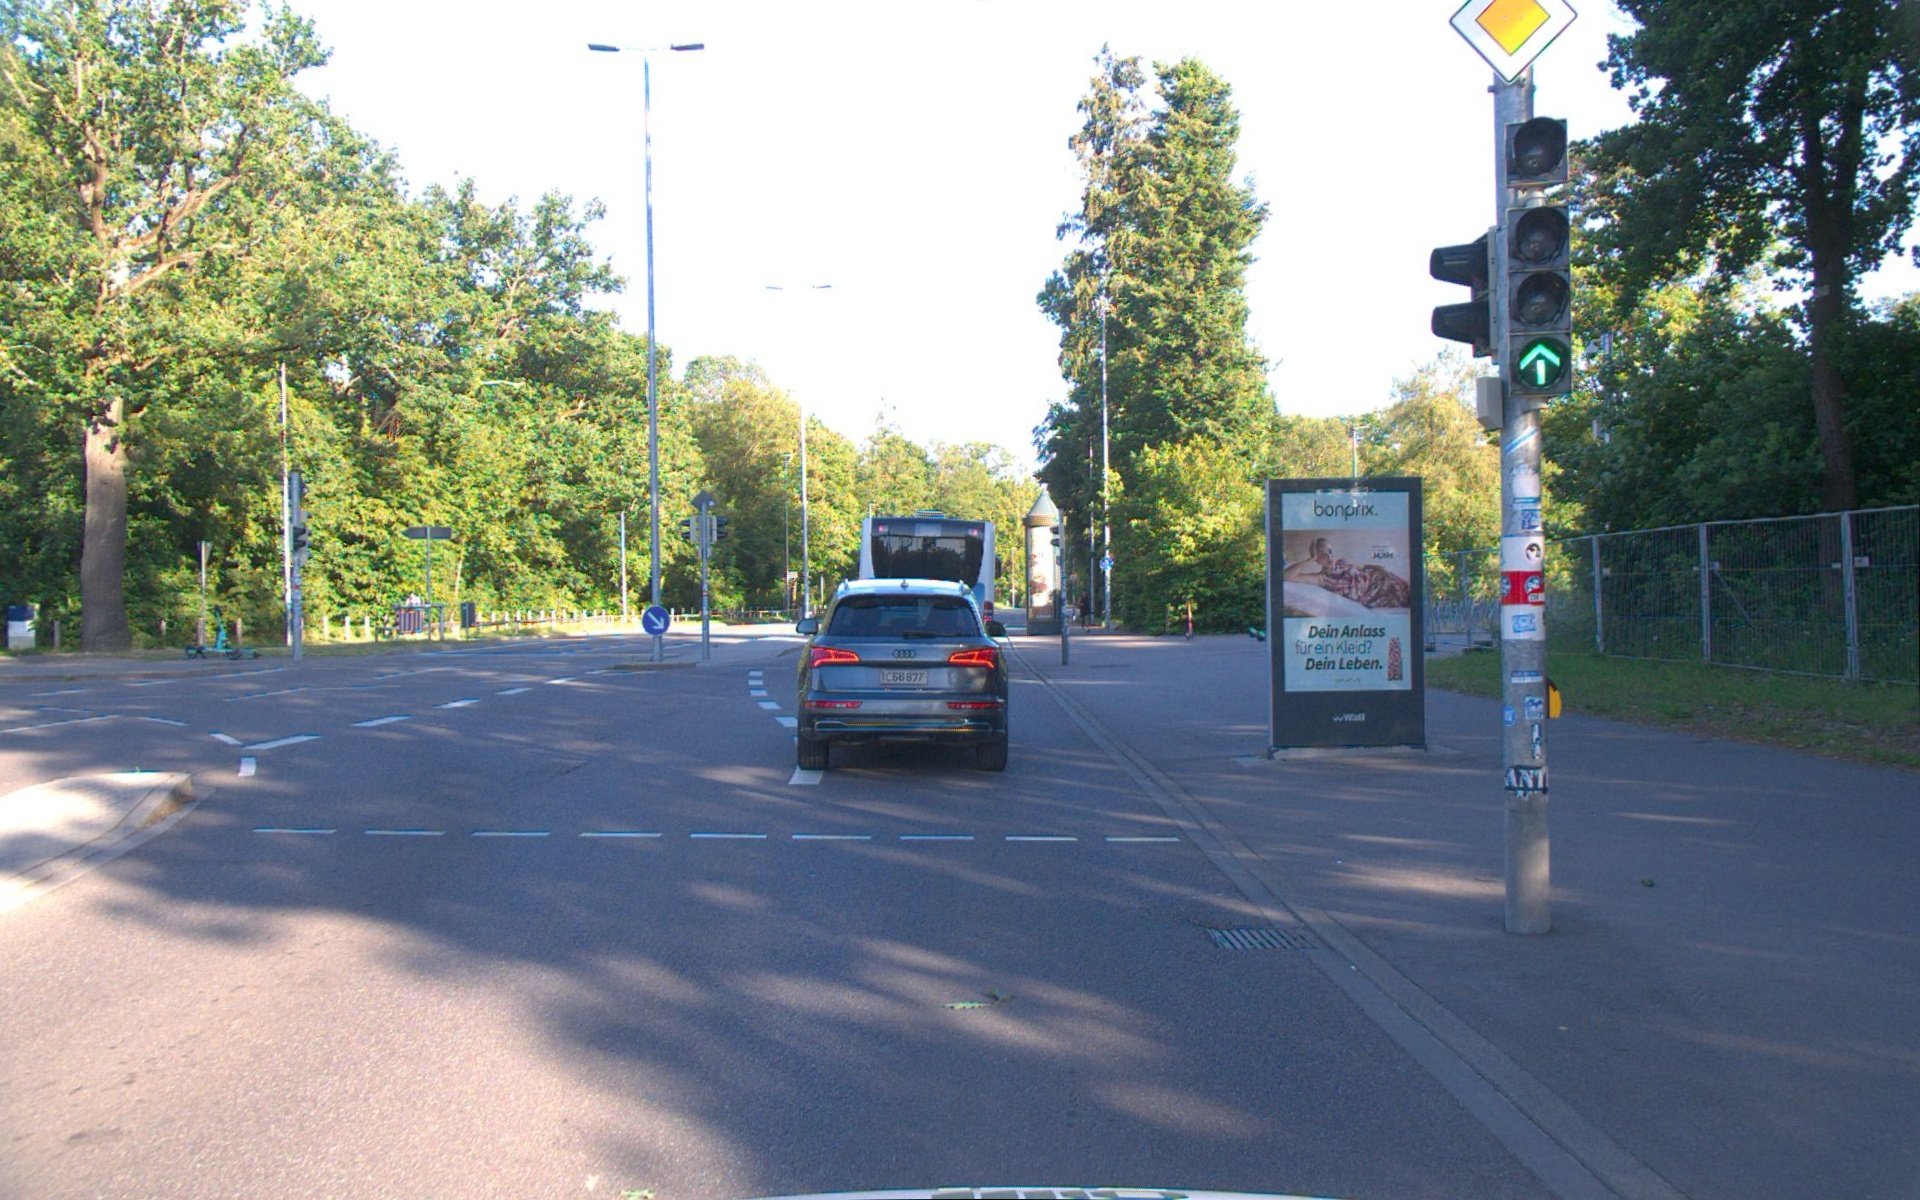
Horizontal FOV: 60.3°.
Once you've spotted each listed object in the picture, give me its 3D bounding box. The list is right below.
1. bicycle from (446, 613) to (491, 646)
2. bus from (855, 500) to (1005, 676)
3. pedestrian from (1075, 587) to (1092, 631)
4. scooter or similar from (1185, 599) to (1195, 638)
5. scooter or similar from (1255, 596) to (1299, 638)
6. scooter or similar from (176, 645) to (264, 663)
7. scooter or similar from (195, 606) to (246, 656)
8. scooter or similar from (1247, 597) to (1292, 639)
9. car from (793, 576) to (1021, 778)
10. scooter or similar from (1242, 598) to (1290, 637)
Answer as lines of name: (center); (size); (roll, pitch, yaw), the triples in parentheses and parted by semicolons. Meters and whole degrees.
bicycle: (-19.044, 1.135, 64.137); (0.665, 1.174, 1.985); (1, 2, 18)
bus: (-0.644, -0.192, 35.529); (2.635, 3.096, 12.038); (1, 0, -1)
pedestrian: (4.903, 0.360, 65.589); (0.612, 1.718, 0.883); (1, 0, 9)
scooter or similar: (7.186, 0.576, 51.599); (0.275, 1.192, 1.410); (-2, 0, 8)
scooter or similar: (9.360, 0.504, 48.844); (1.219, 1.187, 0.394); (-2, -2, 25)
scooter or similar: (-17.018, 1.249, 38.053); (1.377, 0.345, 1.261); (-1, 1, 7)
scooter or similar: (-17.728, 0.736, 39.658); (1.044, 1.166, 0.394); (-1, 1, 7)
scooter or similar: (9.033, 0.521, 48.314); (1.239, 1.167, 0.394); (-3, -2, 7)
car: (-0.478, 0.632, 15.895); (1.854, 1.633, 4.543); (1, 0, -1)
scooter or similar: (9.569, 0.545, 51.746); (1.411, 1.187, 0.393); (-2, -2, 29)
